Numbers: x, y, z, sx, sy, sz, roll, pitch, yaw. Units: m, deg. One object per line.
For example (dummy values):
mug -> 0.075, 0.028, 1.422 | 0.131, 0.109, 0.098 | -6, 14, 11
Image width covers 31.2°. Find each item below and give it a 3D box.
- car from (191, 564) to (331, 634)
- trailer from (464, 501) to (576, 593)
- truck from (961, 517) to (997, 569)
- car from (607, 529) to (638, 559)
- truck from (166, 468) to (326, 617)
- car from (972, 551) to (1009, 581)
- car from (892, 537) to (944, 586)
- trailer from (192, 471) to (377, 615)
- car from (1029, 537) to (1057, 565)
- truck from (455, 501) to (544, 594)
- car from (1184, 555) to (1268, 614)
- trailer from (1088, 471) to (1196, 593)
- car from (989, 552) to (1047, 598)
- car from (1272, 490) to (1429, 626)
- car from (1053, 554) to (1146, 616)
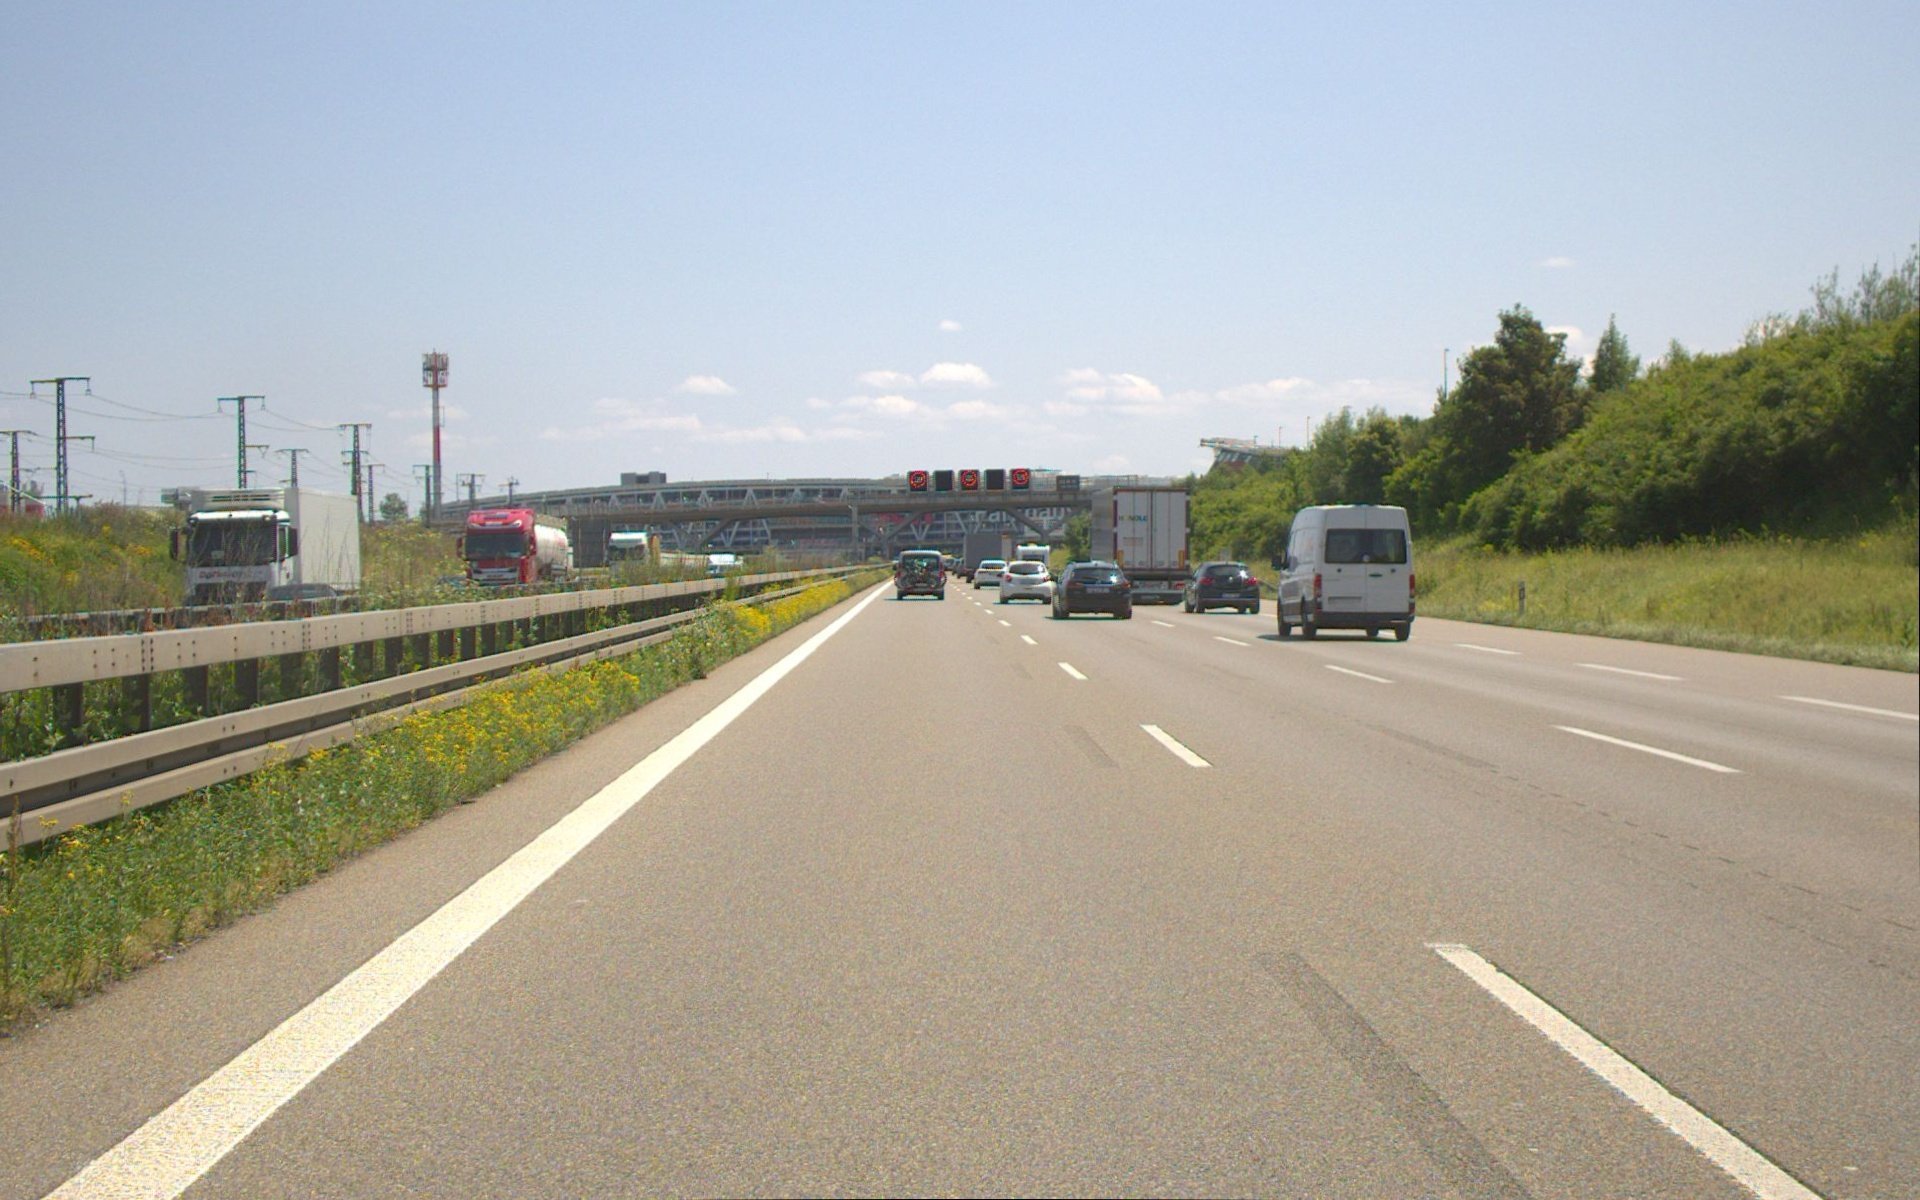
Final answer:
car -> -13.881, -0.043, 68.507 | 1.993, 1.301, 4.204 | -1, 1, -1
trailer -> -17.870, -2.142, 140.507 | 2.787, 3.509, 13.842 | 1, 1, 0
truck -> 1.252, -3.761, 227.921 | 2.355, 3.404, 6.057 | 0, 1, 0
car -> -23.113, -3.837, 235.325 | 1.993, 2.007, 4.001 | 0, 1, -4
truck -> -16.960, -1.359, 81.896 | 2.787, 3.377, 4.713 | 1, 1, 0
car -> 1.592, -1.743, 177.149 | 1.881, 1.521, 4.000 | 1, 0, 1
car -> -1.548, -1.404, 127.914 | 1.881, 1.769, 4.000 | -1, 0, 0
trailer -> -16.984, -1.430, 87.092 | 2.787, 3.377, 9.583 | 1, 1, 0
car -> 5.920, -3.500, 245.658 | 1.993, 2.007, 4.437 | -1, 1, 1
truck -> -17.852, -2.032, 133.515 | 2.787, 3.509, 4.713 | 1, 1, 0
car -> 7.627, -0.431, 98.865 | 1.993, 1.590, 4.000 | 1, -1, -1
trailer -> 6.286, -2.344, 120.045 | 3.177, 4.045, 9.440 | -1, 1, 0
car -> 2.018, -0.846, 117.720 | 1.881, 1.521, 4.000 | 1, 0, 2
car -> 7.488, -0.830, 66.481 | 2.274, 2.519, 5.400 | 0, 1, -1
car -> 3.538, -0.374, 88.071 | 1.993, 1.503, 4.000 | 1, 0, -3
